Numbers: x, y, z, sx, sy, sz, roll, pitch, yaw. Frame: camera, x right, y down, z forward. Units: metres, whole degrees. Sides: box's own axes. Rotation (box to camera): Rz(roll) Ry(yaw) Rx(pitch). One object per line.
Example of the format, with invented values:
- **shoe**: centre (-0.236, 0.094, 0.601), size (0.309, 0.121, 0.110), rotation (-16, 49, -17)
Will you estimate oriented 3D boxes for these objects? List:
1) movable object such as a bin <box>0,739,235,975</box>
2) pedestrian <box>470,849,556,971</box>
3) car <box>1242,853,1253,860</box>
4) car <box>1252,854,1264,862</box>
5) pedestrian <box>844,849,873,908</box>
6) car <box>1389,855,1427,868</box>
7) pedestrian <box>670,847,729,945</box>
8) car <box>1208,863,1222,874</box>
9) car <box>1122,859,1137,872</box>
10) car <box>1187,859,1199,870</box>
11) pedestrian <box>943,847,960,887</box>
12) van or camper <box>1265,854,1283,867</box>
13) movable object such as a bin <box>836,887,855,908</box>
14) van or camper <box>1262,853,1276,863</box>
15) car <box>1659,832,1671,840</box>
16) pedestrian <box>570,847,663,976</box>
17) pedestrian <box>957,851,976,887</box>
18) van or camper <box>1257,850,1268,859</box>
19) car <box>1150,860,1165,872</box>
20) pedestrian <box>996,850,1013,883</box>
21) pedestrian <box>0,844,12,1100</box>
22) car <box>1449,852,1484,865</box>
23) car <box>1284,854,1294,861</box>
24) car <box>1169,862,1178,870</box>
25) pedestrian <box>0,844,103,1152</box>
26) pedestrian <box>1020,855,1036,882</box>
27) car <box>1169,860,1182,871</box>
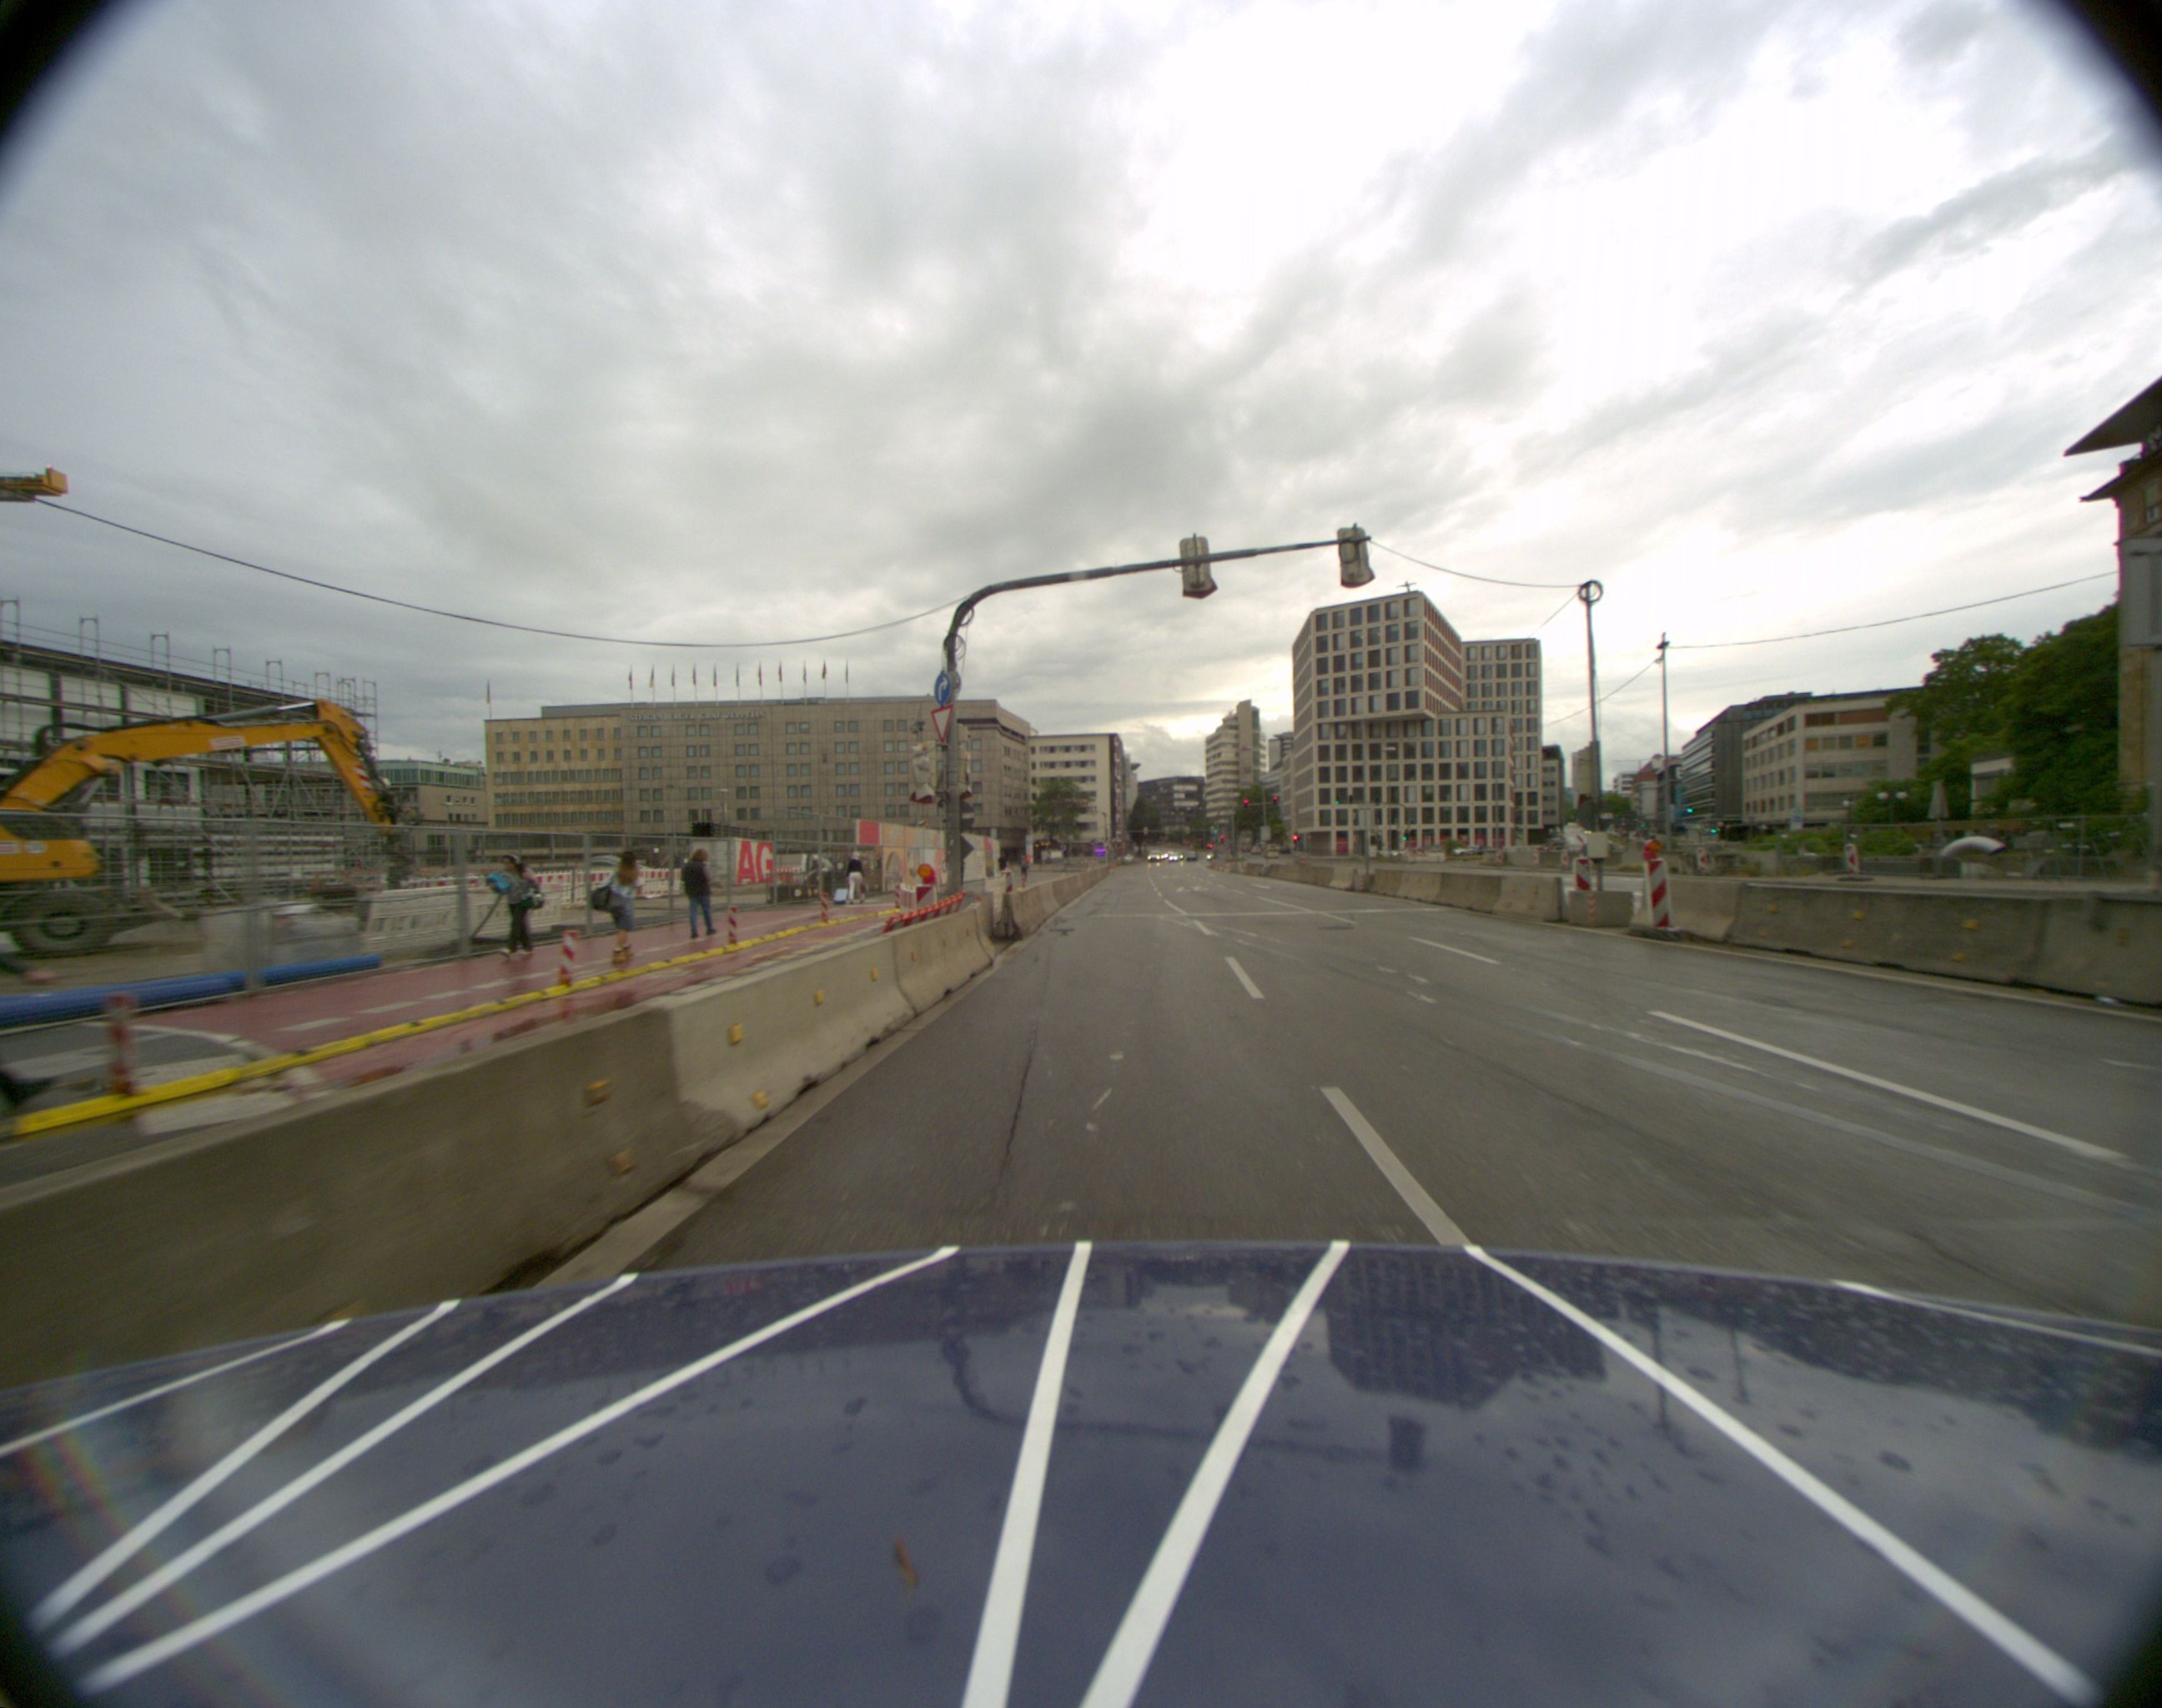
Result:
- **movable object such as a bin**: centre (-17.669, 0.048, 12.046), size (3.933, 3.472, 4.361), rotation (0, 1, 17)
- **pedestrian**: centre (-8.986, 0.865, 12.050), size (0.789, 1.851, 0.683), rotation (-1, 1, -1)
- **car**: centre (39.538, 0.570, 180.286), size (1.849, 1.589, 4.181), rotation (-2, 1, 3)
- **car**: centre (37.297, 0.854, 160.361), size (1.846, 1.664, 4.381), rotation (-2, 1, 4)
- **pedestrian**: centre (-7.168, 0.773, 24.499), size (0.666, 1.851, 0.683), rotation (-1, 1, -1)
- **car**: centre (48.915, 1.115, 113.717), size (4.807, 1.742, 2.230), rotation (-2, 0, 4)
- **pedestrian**: centre (-7.487, 0.800, 14.945), size (0.691, 1.851, 0.811), rotation (-1, 1, -1)
- **car**: centre (22.746, 2.391, 128.910), size (2.014, 1.589, 4.667), rotation (-2, 1, 14)
- **car**: centre (8.290, 1.963, 129.947), size (1.921, 2.002, 4.003), rotation (-1, 1, 12)
- **car**: centre (19.018, 1.743, 128.989), size (2.015, 1.589, 4.666), rotation (-2, 1, 9)
- **pedestrian**: centre (-6.673, 0.663, 39.195), size (0.680, 2.001, 0.687), rotation (-1, 0, 5)
- **van or camper**: centre (34.161, 1.080, 134.474), size (2.244, 2.042, 5.609), rotation (-2, 1, 7)
- **movable object such as a bin**: centre (-7.440, 1.362, 24.004), size (0.434, 0.621, 0.535), rotation (-1, 0, -1)
- **van or camper**: centre (39.075, 0.744, 157.789), size (1.886, 1.883, 5.213), rotation (-2, 1, 4)
- **car**: centre (136.333, -4.205, 177.444), size (1.994, 2.002, 4.008), rotation (-1, 1, 40)
- **pedestrian**: centre (-6.998, 0.838, 11.499), size (0.781, 1.851, 0.949), rotation (-1, 1, -1)
- **pedestrian**: centre (-5.892, 0.749, 39.189), size (0.798, 1.823, 0.626), rotation (-1, 1, 5)
- **van or camper**: centre (44.079, 0.100, 184.636), size (1.849, 1.967, 4.256), rotation (-2, 1, 3)
- **car**: centre (13.204, 2.087, 131.071), size (2.084, 1.893, 5.089), rotation (-2, 1, 12)
- **pedestrian**: centre (-4.394, 0.729, 43.786), size (0.798, 1.867, 0.820), rotation (-1, 1, 5)
- **pedestrian**: centre (-8.226, 0.863, 5.010), size (0.781, 1.851, 1.058), rotation (-1, 1, -1)
- **car**: centre (56.206, 0.642, 110.706), size (4.128, 1.706, 1.857), rotation (-1, 0, -2)
- **car**: centre (43.252, 0.724, 158.240), size (1.864, 1.514, 4.004), rotation (-1, 1, 14)
- **car**: centre (18.976, 2.472, 155.368), size (1.670, 1.475, 3.487), rotation (-2, 1, 8)
- **pedestrian**: centre (-6.953, 0.878, 4.557), size (0.872, 1.851, 0.948), rotation (-1, 1, -1)
- **pedestrian**: centre (-3.540, 0.963, 50.729), size (0.927, 1.823, 0.686), rotation (-1, 1, 5)
- **car**: centre (16.174, 1.953, 129.390), size (2.015, 1.728, 4.667), rotation (-2, -1, 9)
